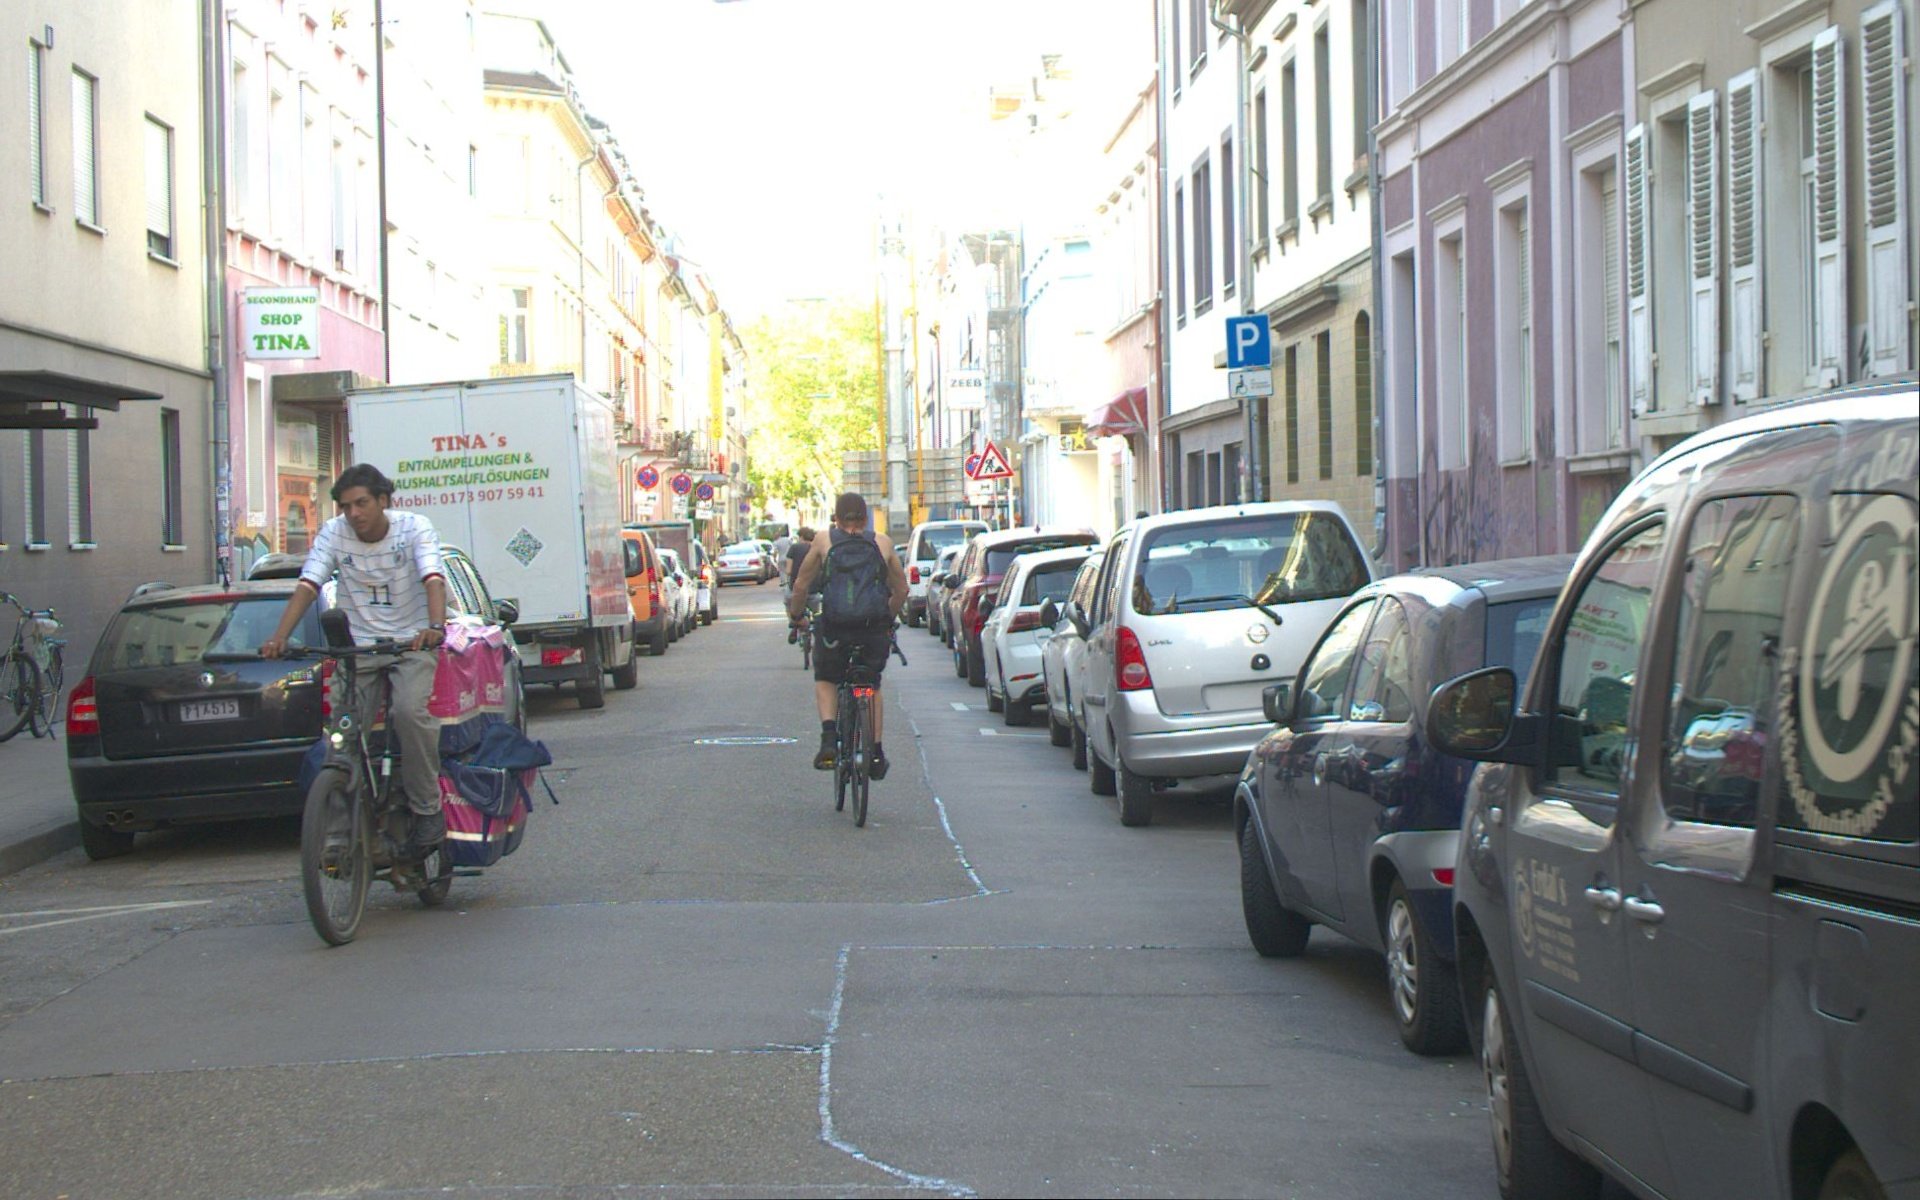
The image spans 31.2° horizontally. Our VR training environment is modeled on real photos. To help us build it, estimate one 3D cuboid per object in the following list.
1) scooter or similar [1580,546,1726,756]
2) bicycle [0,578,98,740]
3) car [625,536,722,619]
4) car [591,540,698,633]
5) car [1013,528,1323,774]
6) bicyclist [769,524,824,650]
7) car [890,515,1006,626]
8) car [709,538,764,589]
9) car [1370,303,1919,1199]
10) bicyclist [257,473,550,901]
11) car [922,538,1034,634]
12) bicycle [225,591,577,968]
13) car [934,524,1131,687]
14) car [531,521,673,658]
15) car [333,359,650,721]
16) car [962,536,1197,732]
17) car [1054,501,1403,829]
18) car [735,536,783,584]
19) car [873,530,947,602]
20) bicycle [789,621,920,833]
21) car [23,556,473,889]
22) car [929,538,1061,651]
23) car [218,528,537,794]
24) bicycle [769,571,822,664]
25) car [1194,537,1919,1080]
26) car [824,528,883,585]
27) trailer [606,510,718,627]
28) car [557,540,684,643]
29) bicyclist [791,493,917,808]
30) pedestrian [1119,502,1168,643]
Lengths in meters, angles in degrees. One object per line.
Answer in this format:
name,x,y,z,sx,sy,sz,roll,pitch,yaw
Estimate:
scooter or similar,4.123,0.289,20.529,0.450,1.178,1.369,-5,1,-3
bicycle,-7.070,0.435,26.266,0.490,1.160,1.773,-3,1,-1
car,-5.750,-0.455,69.305,1.750,1.567,3.796,-2,1,-2
car,-5.548,-0.247,60.716,1.653,1.532,3.635,-2,1,-2
car,1.411,0.316,25.019,1.696,1.538,4.629,-3,1,-3
bicyclist,-2.049,-0.159,42.990,0.671,1.562,0.716,0,0,-3
car,-0.254,-0.533,62.117,1.750,1.872,3.973,-2,1,-4
car,-7.703,-1.253,118.547,1.750,1.678,3.796,-2,1,-2
car,2.057,0.504,6.371,1.899,1.787,4.315,0,1,-3
bicyclist,-2.228,0.330,13.893,0.950,1.622,0.953,-3,1,0
car,0.271,-0.245,57.070,1.750,1.481,3.800,-2,1,-1
bicycle,-2.215,0.664,14.037,0.977,1.310,2.555,-2,1,0
car,0.748,0.017,38.542,1.918,1.700,4.367,-1,1,-2
car,-5.137,-0.163,49.749,1.752,1.810,4.079,-3,1,-3
car,-4.713,-0.602,35.821,2.343,3.280,7.155,-3,1,-1
car,0.988,0.260,30.437,1.686,1.538,4.047,-3,1,-3
car,1.444,0.322,19.643,1.556,1.706,3.559,0,0,-3
car,-7.906,-1.572,135.569,1.750,1.815,3.796,-2,1,-2
car,-1.162,-0.779,79.155,1.611,1.628,3.610,0,1,-2
bicycle,-0.591,0.663,18.826,0.677,1.071,1.942,0,0,-3
car,-3.875,0.583,19.444,1.716,1.473,4.500,-4,2,-3
car,0.481,-0.098,51.156,1.646,1.470,3.971,-5,1,-2
car,-4.203,0.368,25.394,1.716,1.644,4.246,-4,2,-3
bicycle,-2.047,0.204,42.949,0.648,1.125,2.136,0,0,-2
car,1.817,0.563,11.400,1.552,1.506,3.612,0,1,-5
car,-2.975,-1.211,95.673,1.611,1.555,3.610,0,1,-2
trailer,-5.625,-0.604,65.169,1.881,2.085,3.737,-2,1,-2
car,-5.439,-0.151,55.522,1.750,1.532,4.320,-2,1,-2
bicyclist,-0.590,0.263,18.831,0.667,1.671,1.097,0,0,-3
pedestrian,2.638,-0.399,49.476,0.644,2.007,0.764,0,0,-2
